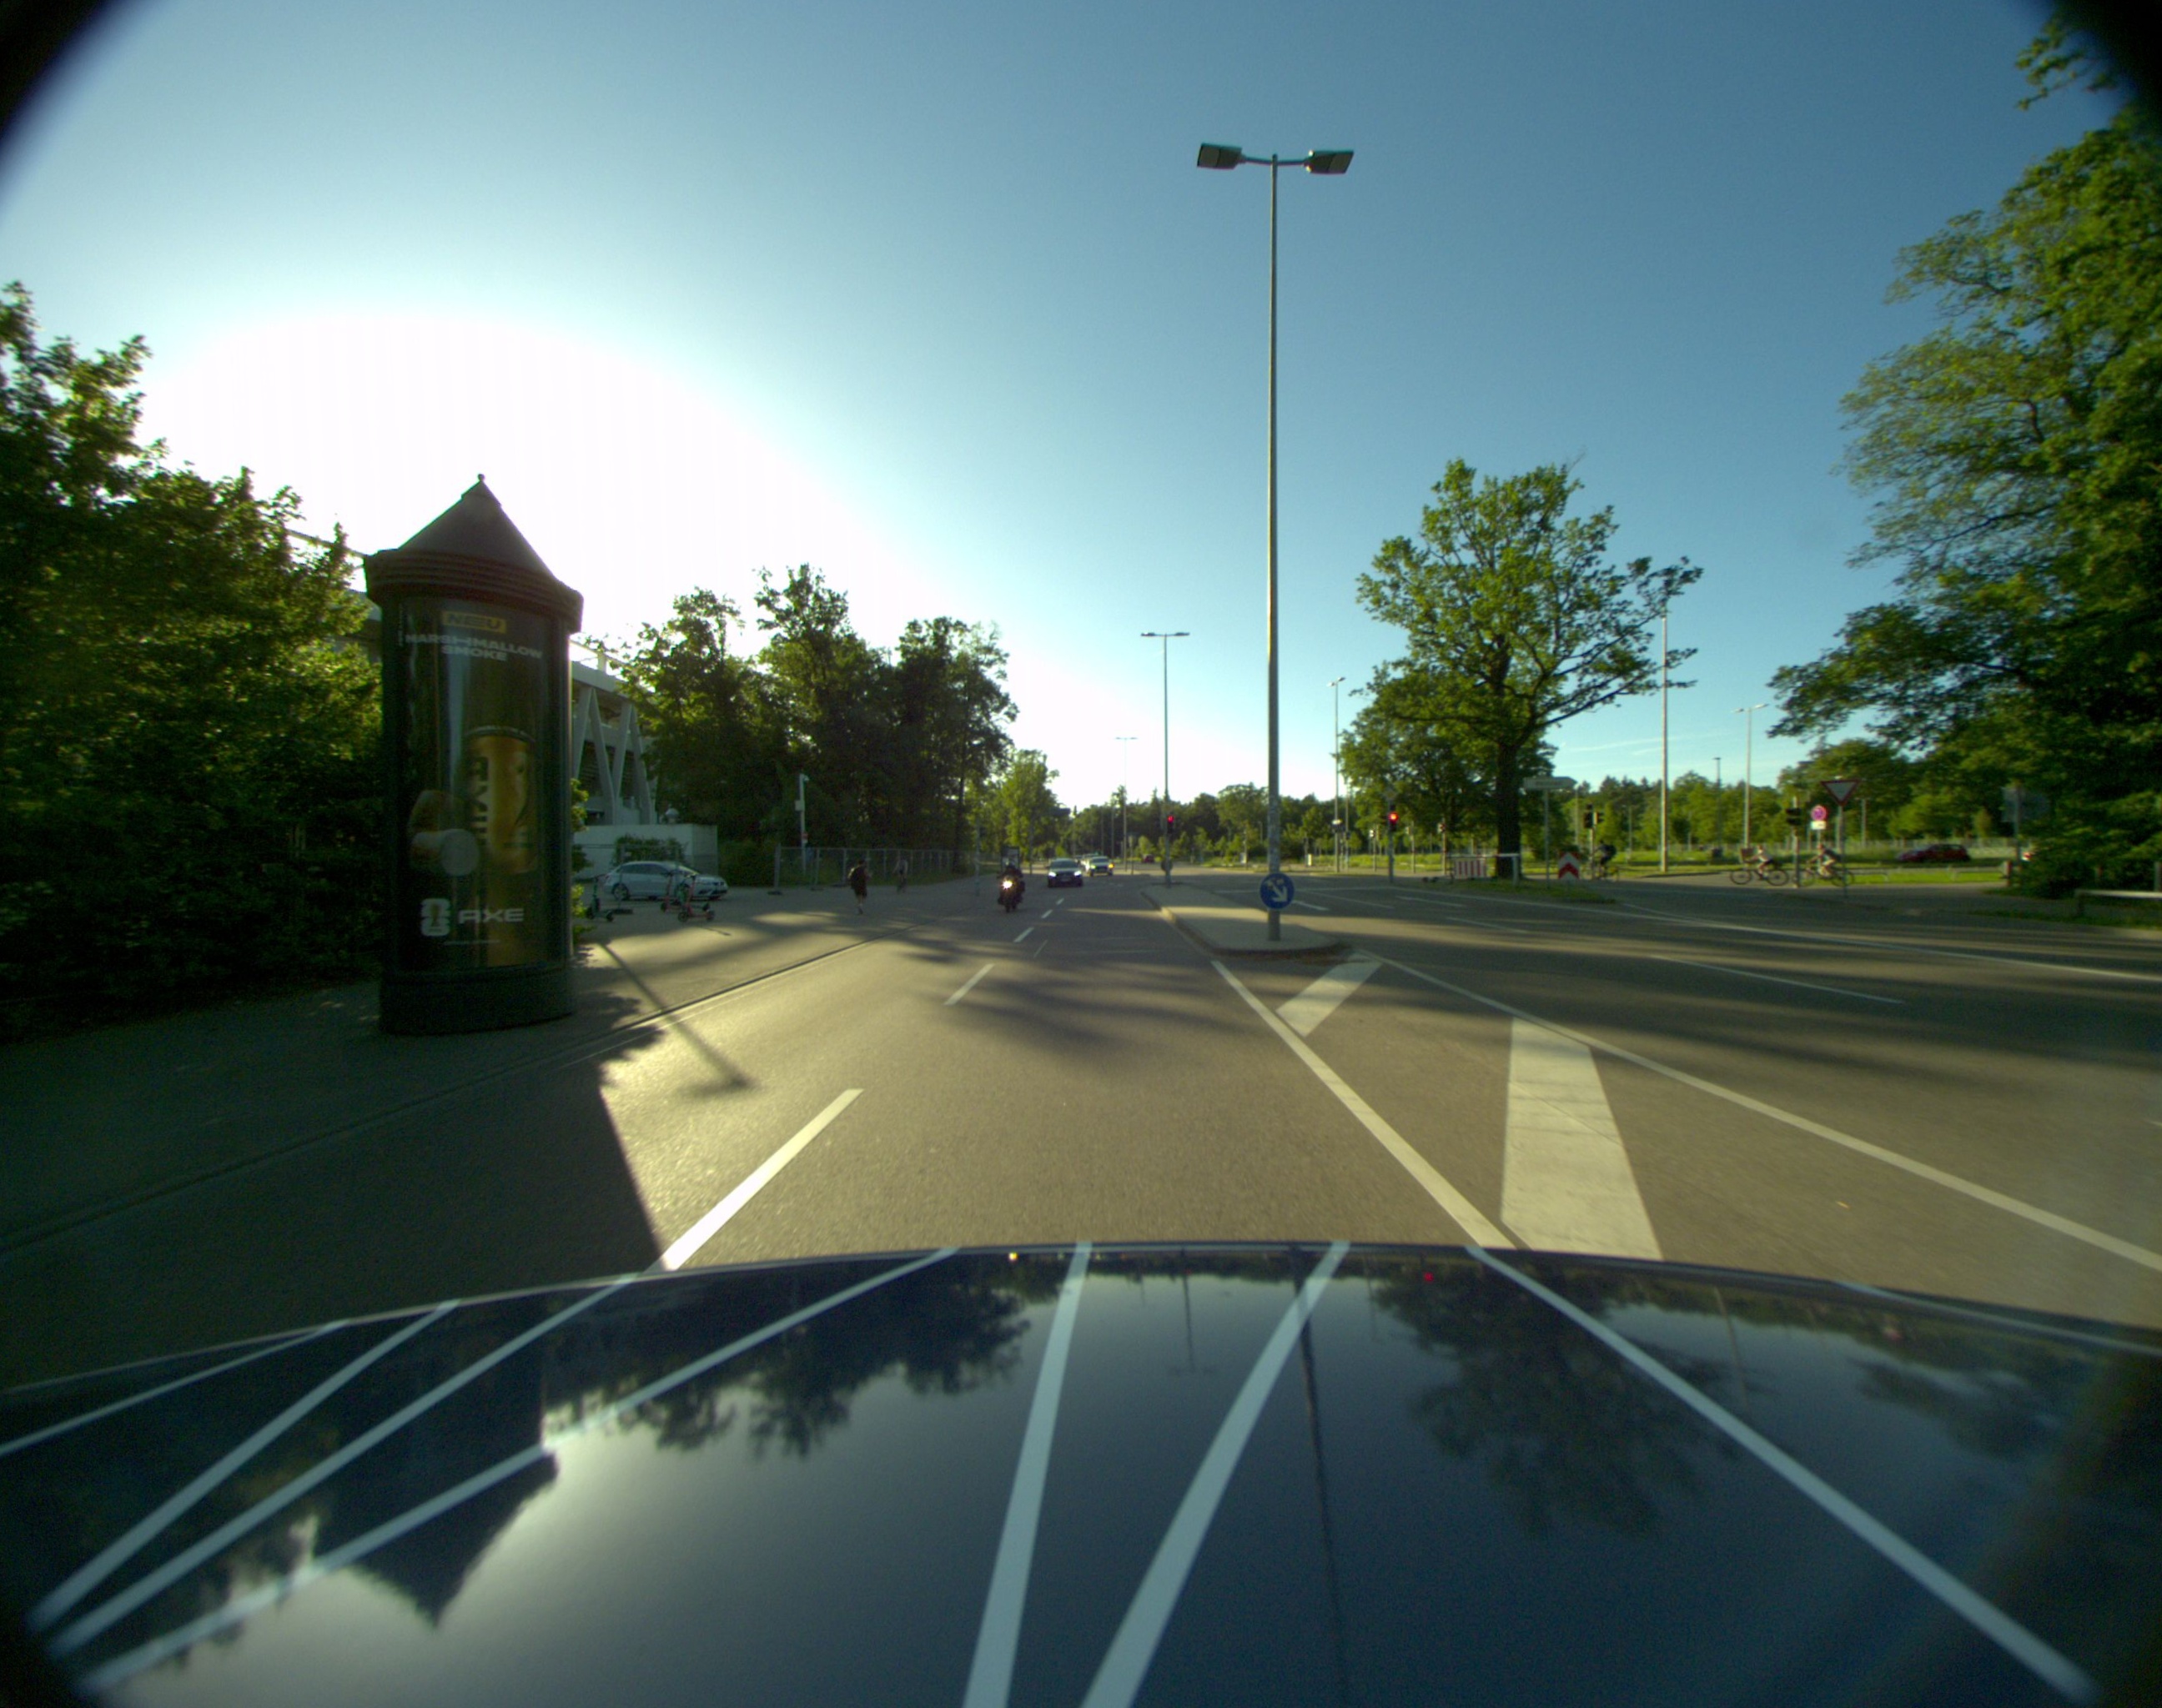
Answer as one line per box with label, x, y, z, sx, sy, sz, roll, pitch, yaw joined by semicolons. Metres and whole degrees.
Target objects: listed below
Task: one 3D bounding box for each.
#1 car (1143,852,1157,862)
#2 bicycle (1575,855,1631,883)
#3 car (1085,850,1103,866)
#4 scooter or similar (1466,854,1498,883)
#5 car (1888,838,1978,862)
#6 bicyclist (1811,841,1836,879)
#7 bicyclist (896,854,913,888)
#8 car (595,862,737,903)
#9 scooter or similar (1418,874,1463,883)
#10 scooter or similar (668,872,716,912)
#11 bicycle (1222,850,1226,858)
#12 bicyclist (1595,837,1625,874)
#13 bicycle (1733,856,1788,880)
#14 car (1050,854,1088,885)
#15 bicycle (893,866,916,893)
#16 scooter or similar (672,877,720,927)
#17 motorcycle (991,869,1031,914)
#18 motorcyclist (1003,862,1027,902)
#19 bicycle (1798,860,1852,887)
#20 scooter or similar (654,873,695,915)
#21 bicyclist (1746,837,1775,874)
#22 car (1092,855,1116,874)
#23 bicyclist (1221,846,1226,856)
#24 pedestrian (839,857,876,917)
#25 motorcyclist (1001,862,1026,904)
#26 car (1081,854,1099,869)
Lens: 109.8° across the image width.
car;12.373;0.541;136.112;1.891;1.544;4.571;-2;0;-2
bicycle;22.117;0.642;32.238;0.682;1.147;1.982;-1;-1;-13
car;1.239;0.404;72.442;1.661;1.418;4.318;-2;0;0
scooter or similar;16.075;0.587;30.483;1.069;1.140;0.394;-1;0;9
car;59.973;-0.310;53.544;3.993;1.501;1.658;-2;1;13
bicyclist;28.250;0.222;28.928;0.528;1.392;0.520;-2;1;26
bicyclist;-7.967;0.761;34.361;0.521;1.460;0.861;2;1;0
car;-15.292;1.025;28.100;4.379;1.370;1.821;0;1;9
scooter or similar;15.214;1.039;32.191;1.410;0.337;1.261;-1;-1;9
scooter or similar;-11.648;1.144;22.762;1.268;1.140;0.394;1;2;9
bicycle;22.444;0.005;119.485;0.494;1.230;1.796;-2;0;7
bicyclist;22.193;0.074;31.900;0.564;1.542;0.799;-1;-2;-11
bicycle;28.078;0.580;31.392;0.786;0.971;1.586;-3;1;-41
car;-0.644;0.815;41.337;1.867;1.538;4.796;-2;0;-1
bicycle;-7.973;1.130;34.378;0.555;1.130;1.864;1;0;0
scooter or similar;-9.662;1.183;19.127;0.281;1.164;1.410;0;0;10
motorcycle;-2.167;1.136;23.963;0.916;1.243;2.962;-3;0;0
motorcyclist;-2.157;0.921;24.909;0.671;1.256;0.826;-2;1;0
bicycle;28.292;0.741;28.921;1.352;0.971;0.523;-2;1;26
scooter or similar;-11.842;1.155;22.130;1.245;1.160;0.395;0;2;26
bicyclist;28.061;0.055;31.378;0.731;1.474;0.798;-3;1;-41
car;1.907;0.868;63.852;1.838;1.504;4.300;-2;0;0
bicyclist;22.456;-0.478;119.469;0.682;1.601;0.800;-2;1;8
pedestrian;-6.548;0.958;22.286;0.627;1.678;0.883;-2;1;10
motorcyclist;-2.124;0.901;23.991;0.671;1.256;0.826;-2;1;0
car;0.947;0.831;83.578;1.797;1.574;4.320;-2;0;-1
